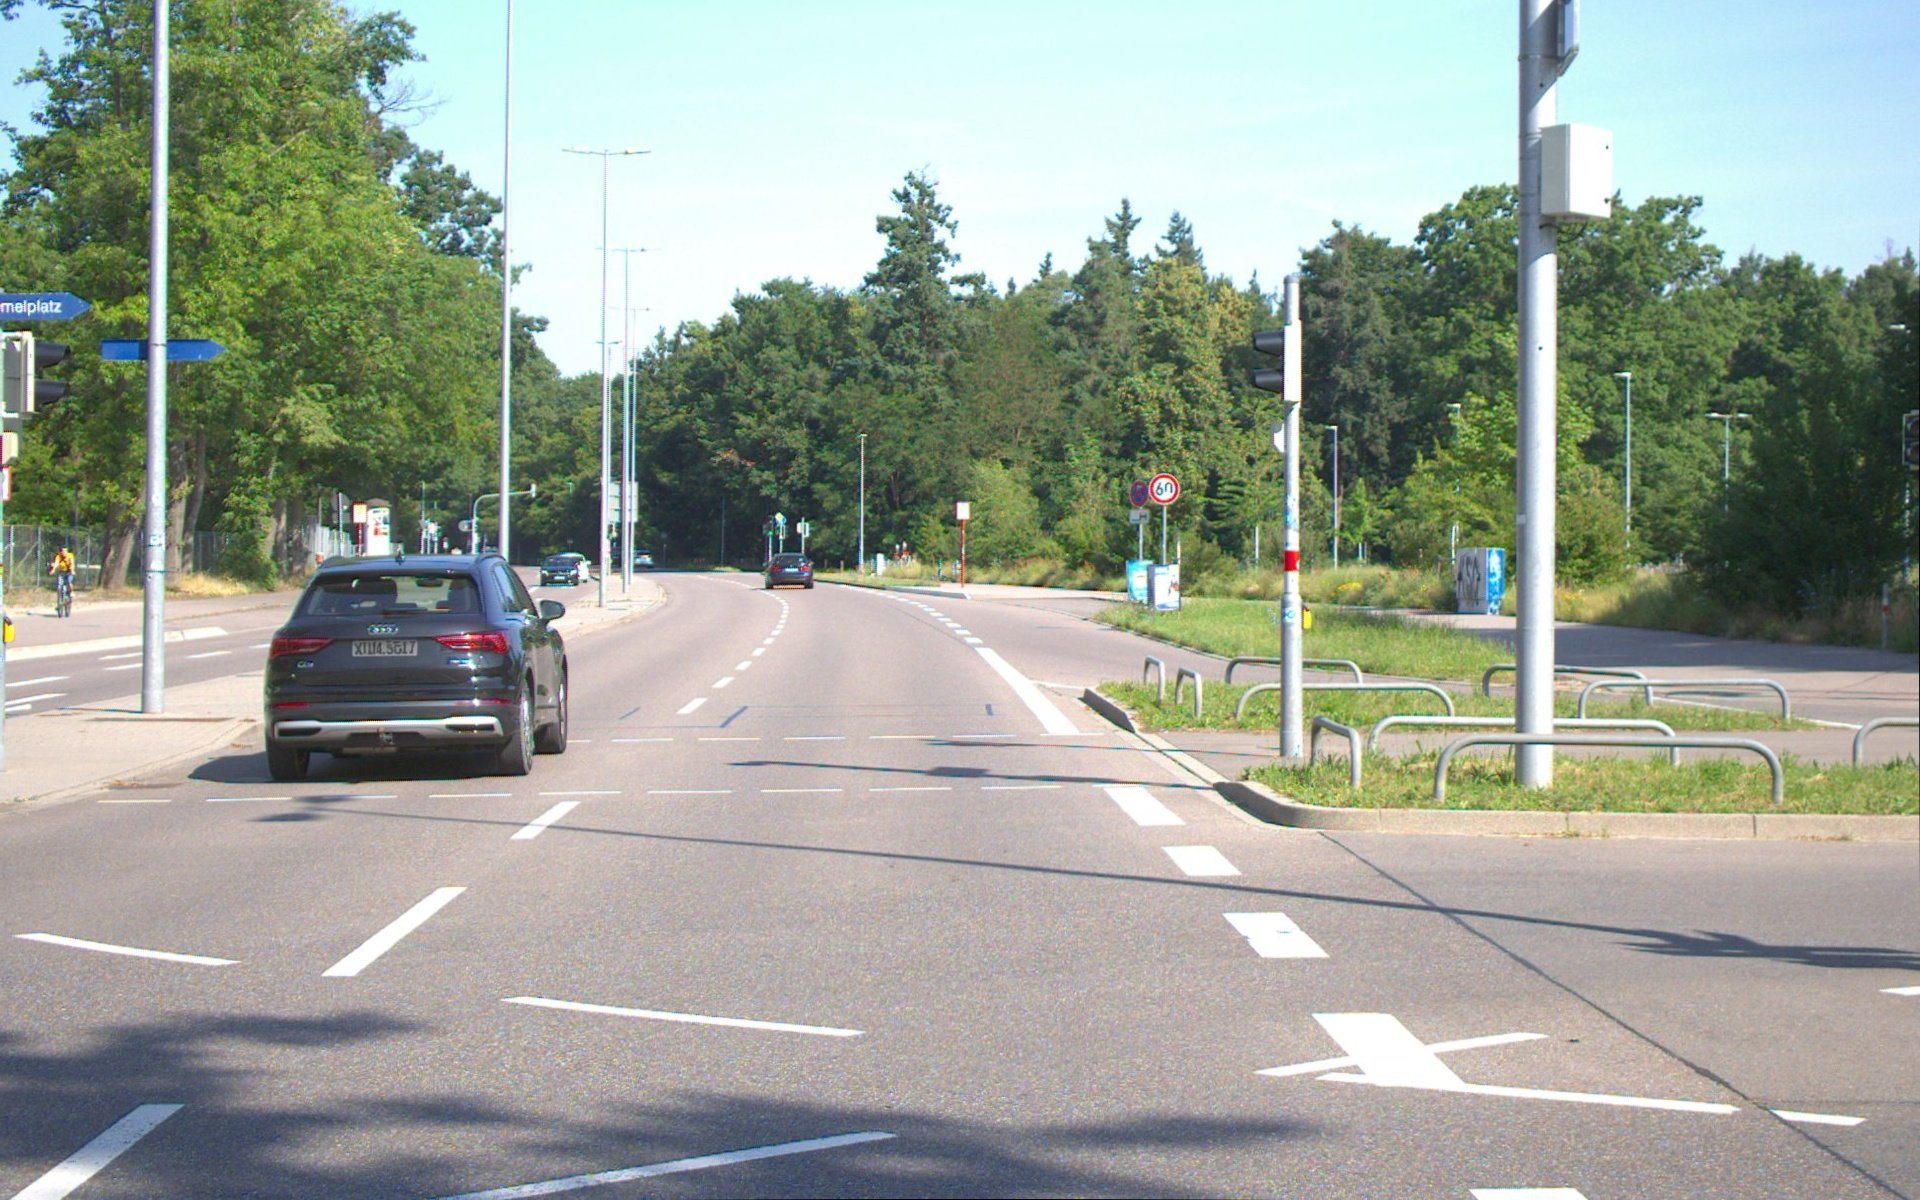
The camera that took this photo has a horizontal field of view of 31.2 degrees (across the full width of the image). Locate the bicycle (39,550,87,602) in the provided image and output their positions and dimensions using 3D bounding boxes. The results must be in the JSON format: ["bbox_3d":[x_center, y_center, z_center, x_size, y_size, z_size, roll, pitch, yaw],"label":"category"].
[{"bbox_3d":[-20.532,-0.556,78.689,0.659,1.132,1.879,2,1,-3],"label":"bicycle"}]

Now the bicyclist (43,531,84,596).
[{"bbox_3d":[-20.508,-0.845,78.681,0.659,1.462,1.057,2,1,-3],"label":"bicyclist"}]

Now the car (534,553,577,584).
[{"bbox_3d":[-19.129,-1.493,162.430,1.810,1.383,4.163,-2,1,-9],"label":"car"}]

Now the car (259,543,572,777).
[{"bbox_3d":[-3.883,0.370,25.125,1.687,1.539,4.149,-1,1,-1],"label":"car"}]

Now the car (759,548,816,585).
[{"bbox_3d":[-6.858,-1.350,136.457,1.940,1.415,4.294,0,1,-7],"label":"car"}]
